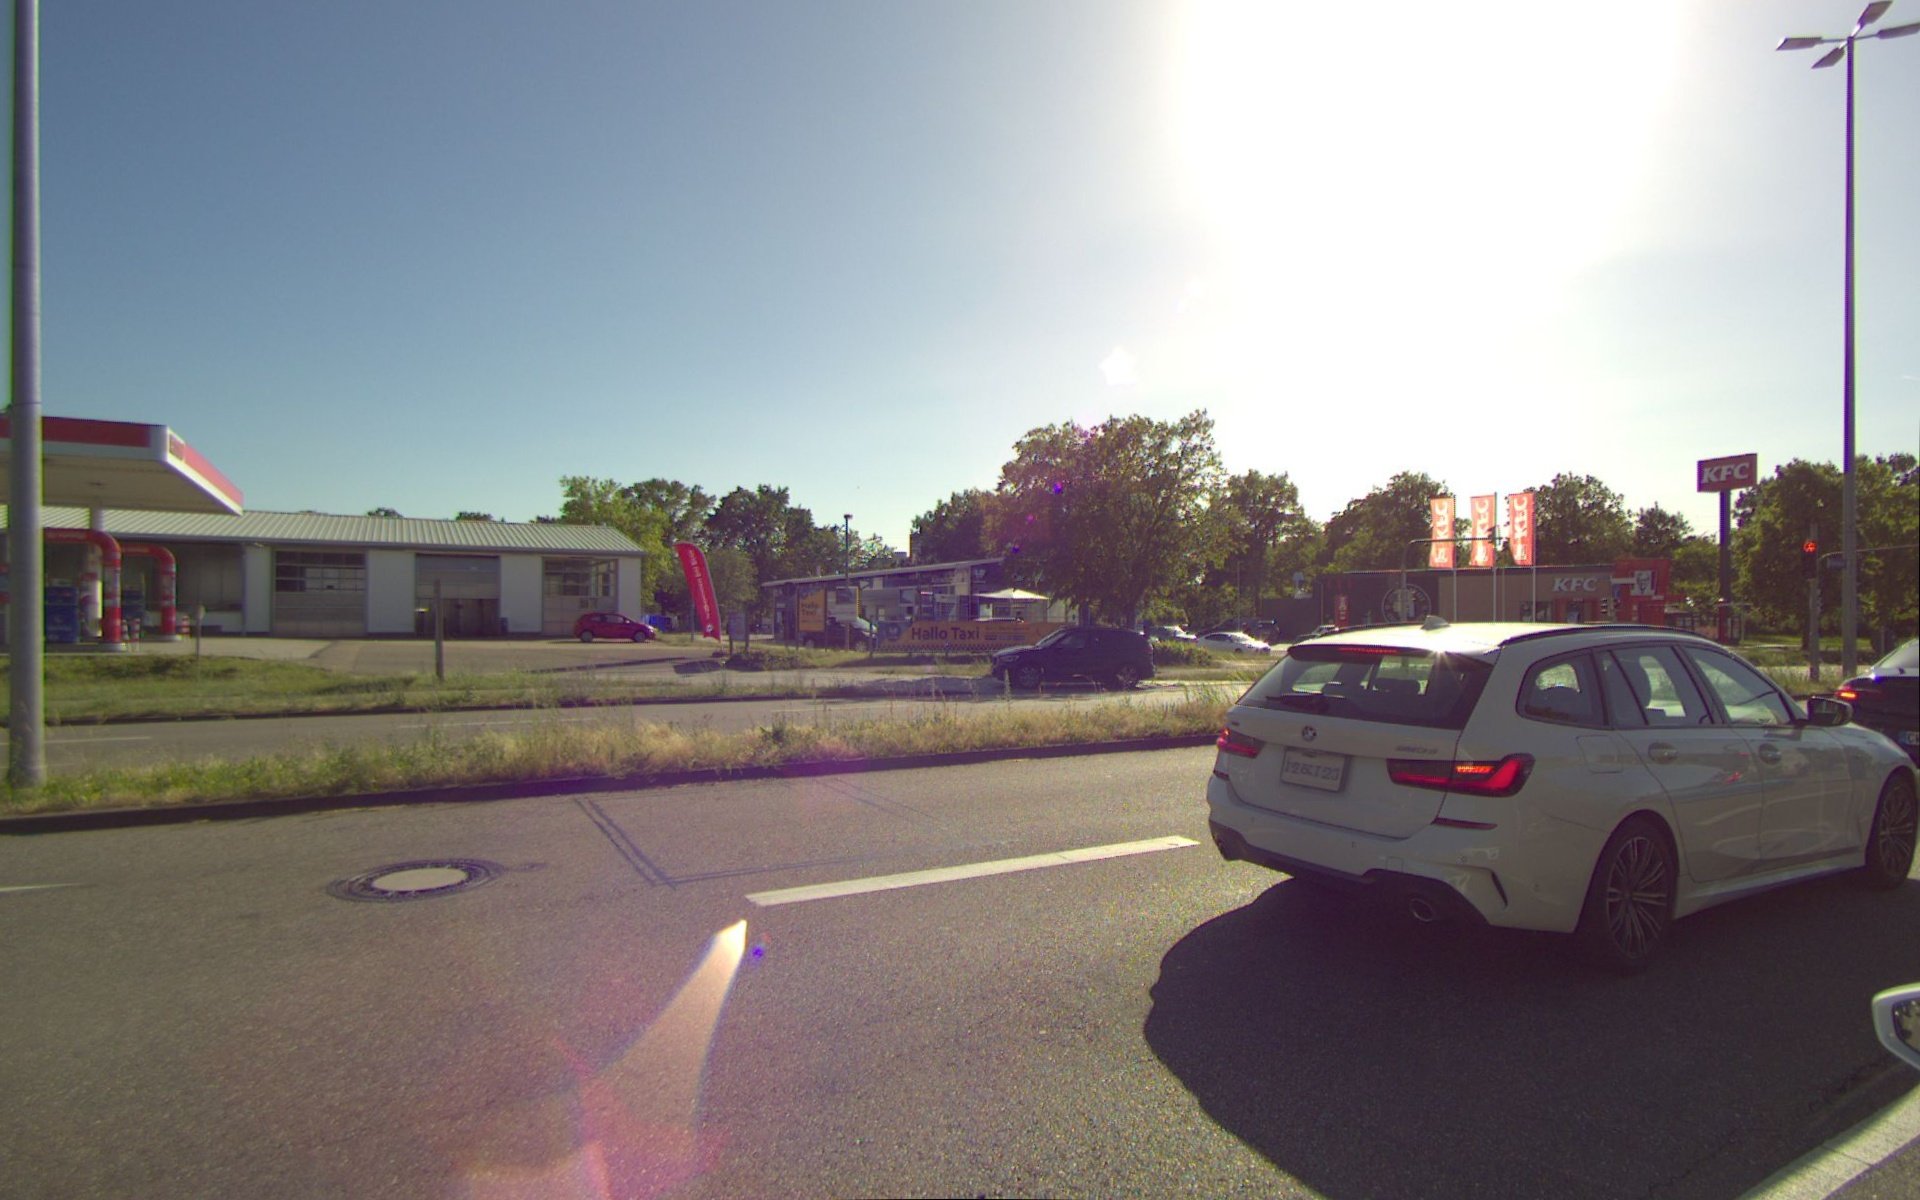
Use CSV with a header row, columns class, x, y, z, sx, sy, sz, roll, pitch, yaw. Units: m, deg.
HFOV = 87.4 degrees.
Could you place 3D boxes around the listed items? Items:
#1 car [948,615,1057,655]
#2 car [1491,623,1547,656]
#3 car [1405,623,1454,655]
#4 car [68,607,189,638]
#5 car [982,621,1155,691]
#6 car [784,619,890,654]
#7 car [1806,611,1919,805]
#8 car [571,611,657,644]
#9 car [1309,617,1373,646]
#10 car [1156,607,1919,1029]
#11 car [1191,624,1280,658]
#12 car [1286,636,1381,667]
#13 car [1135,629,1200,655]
class,x,y,z,sx,sy,sz,roll,pitch,yaw
car,1.711,1.428,40.859,3.941,1.461,1.990,2,0,-21
car,33.775,2.359,60.798,1.896,1.763,4.099,2,0,14
car,28.923,2.376,62.006,1.896,1.763,4.099,2,0,14
car,-35.284,0.954,42.754,3.688,1.203,1.667,2,0,-30
car,2.857,1.463,26.843,4.244,1.749,1.805,1,0,-10
car,-4.877,1.404,39.745,3.930,1.193,1.774,2,0,31
car,9.844,0.930,9.239,4.491,1.572,1.803,1,0,-31
car,-17.202,1.361,49.945,3.949,1.491,1.521,2,0,-24
car,26.212,2.154,69.170,3.697,1.837,2.001,2,0,4
car,3.423,0.826,5.530,4.541,1.506,1.804,1,0,-30
car,15.030,2.213,55.024,1.914,1.600,4.599,2,0,-31
car,18.091,2.465,48.803,1.850,1.268,4.062,2,0,-31
car,13.295,2.708,64.613,1.914,1.472,3.933,2,0,-31
